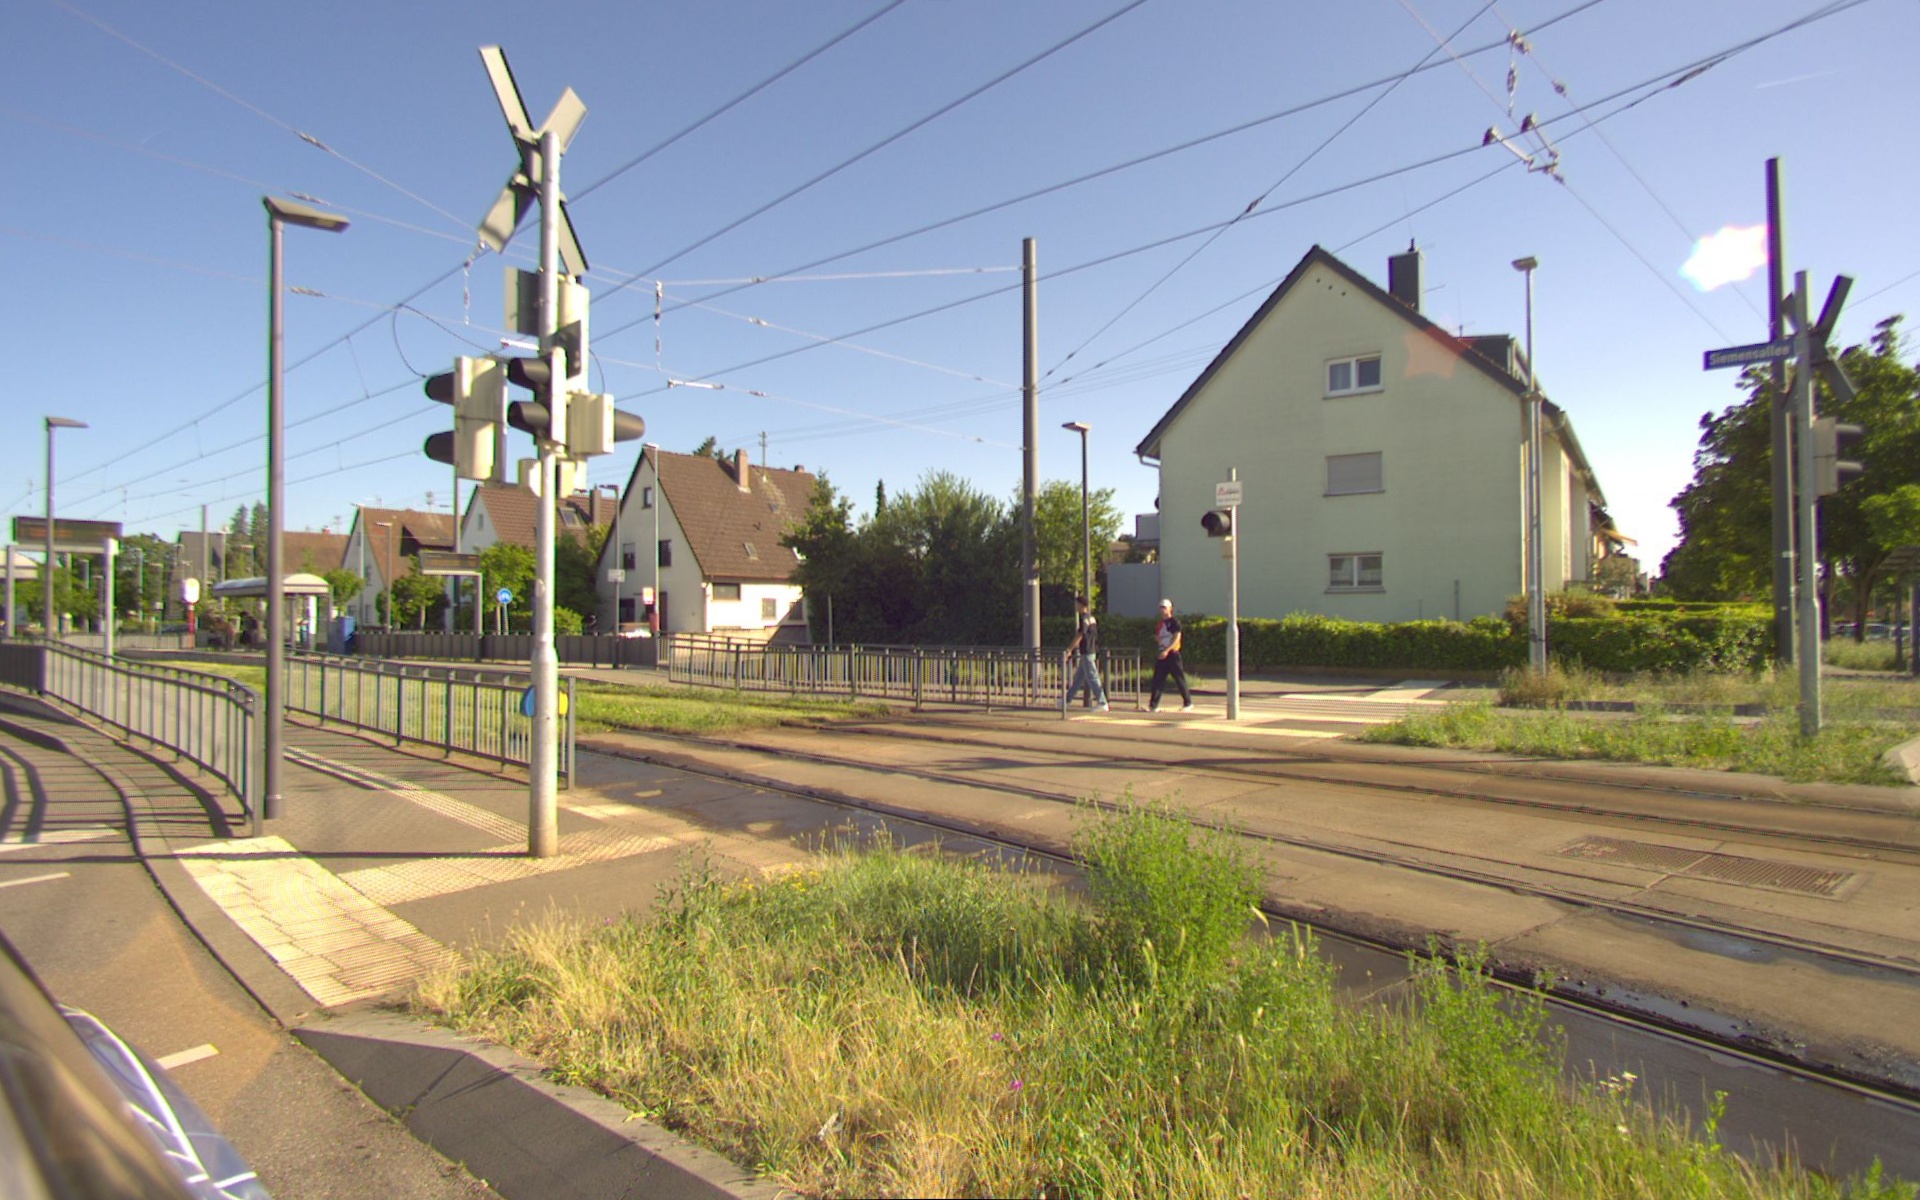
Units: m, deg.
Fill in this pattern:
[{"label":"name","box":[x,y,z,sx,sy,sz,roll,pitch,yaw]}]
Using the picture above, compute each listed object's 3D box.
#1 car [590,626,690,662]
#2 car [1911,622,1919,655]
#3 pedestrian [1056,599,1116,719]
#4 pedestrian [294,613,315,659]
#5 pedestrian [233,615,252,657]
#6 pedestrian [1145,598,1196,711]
[{"label":"car","box":[-14.519,1.975,46.103,1.997,1.547,3.941,-2,-2,37]},{"label":"car","box":[42.609,1.684,43.643,1.823,1.403,3.745,-1,0,36]},{"label":"pedestrian","box":[1.954,0.887,15.651,0.818,1.784,0.686,0,1,16]},{"label":"pedestrian","box":[-25.050,1.371,38.675,0.612,1.766,0.443,1,-2,-30]},{"label":"pedestrian","box":[-30.658,1.537,43.217,0.543,1.766,0.528,-2,-2,40]},{"label":"pedestrian","box":[3.273,0.822,15.711,0.721,1.673,0.792,0,1,16]}]
